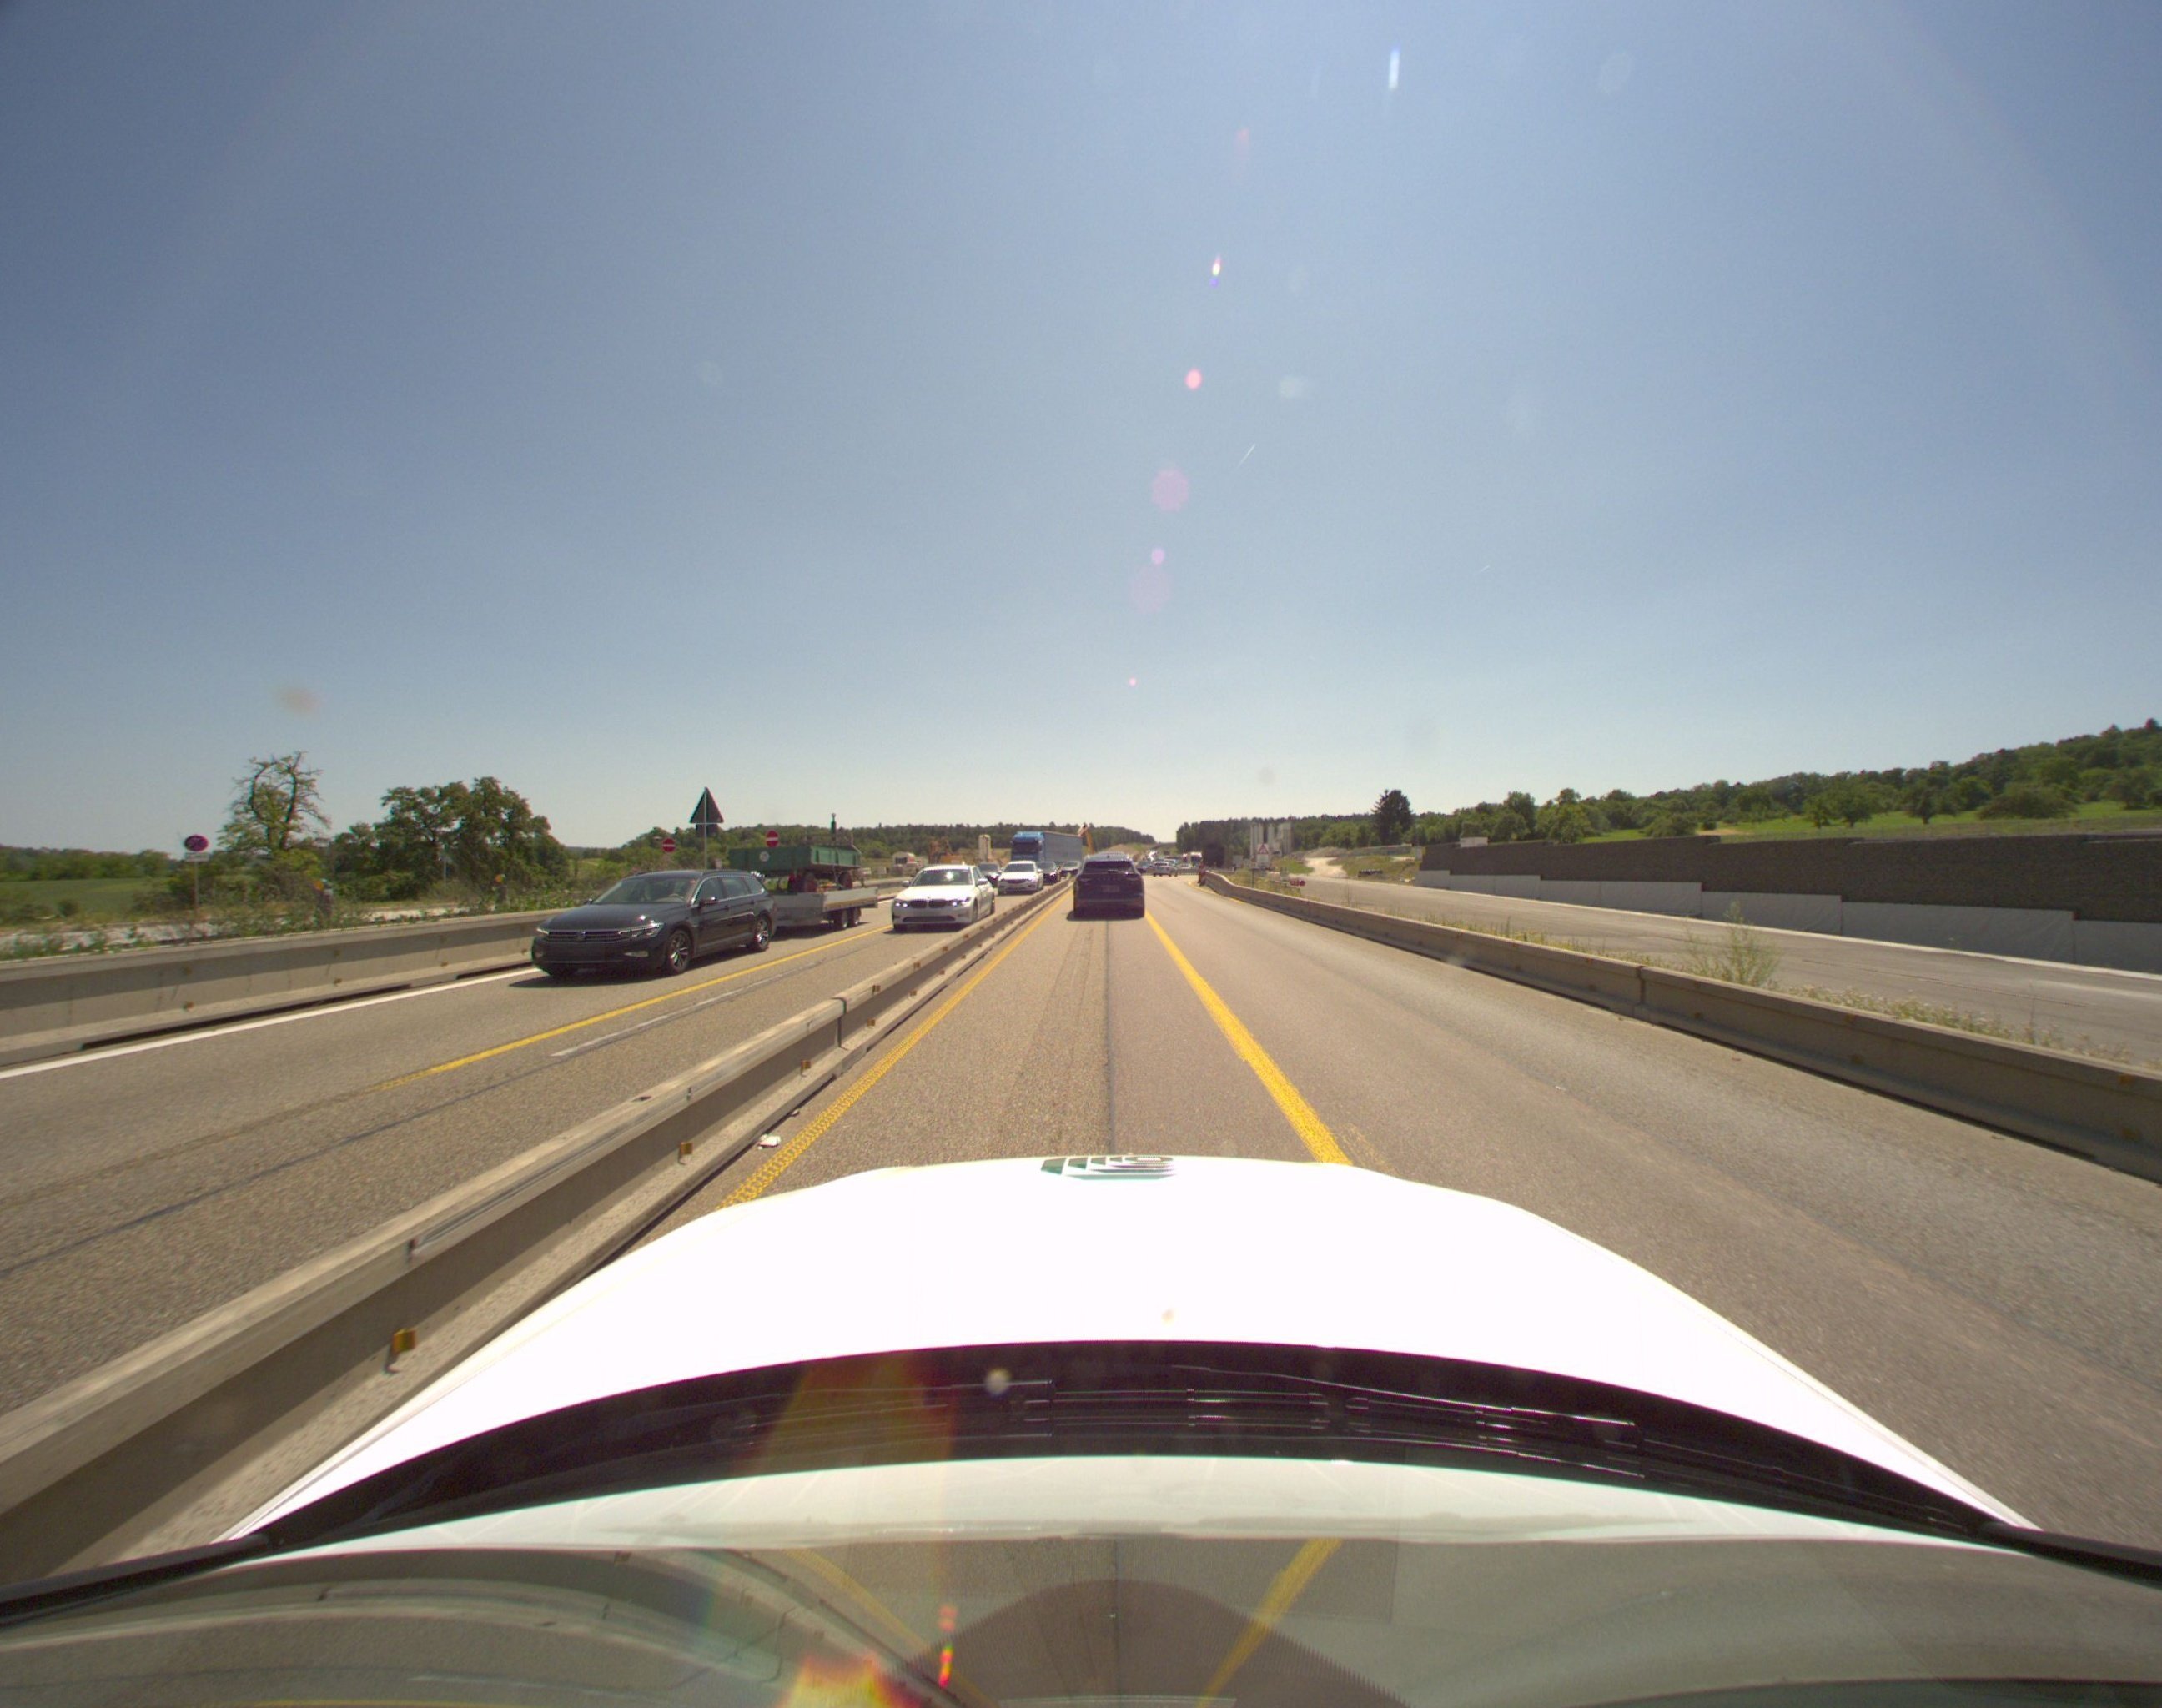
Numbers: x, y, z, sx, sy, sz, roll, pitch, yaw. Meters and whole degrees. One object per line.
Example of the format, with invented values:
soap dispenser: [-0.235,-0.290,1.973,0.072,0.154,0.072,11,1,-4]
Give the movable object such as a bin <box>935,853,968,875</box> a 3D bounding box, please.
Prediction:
movable object such as a bin: [-16.974,1.270,106.892,2.893,2.727,3.324,2,0,-38]

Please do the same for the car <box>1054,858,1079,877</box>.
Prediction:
car: [-1.169,1.102,67.245,1.581,1.441,4.131,-2,0,6]

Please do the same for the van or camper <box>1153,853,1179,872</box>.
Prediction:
van or camper: [12.376,1.257,118.426,2.081,2.541,6.337,-1,-1,21]

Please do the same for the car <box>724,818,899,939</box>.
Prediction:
car: [-6.270,0.490,19.968,1.907,2.399,6.454,-2,0,1]

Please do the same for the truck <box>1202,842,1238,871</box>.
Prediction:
truck: [14.837,0.320,86.753,2.650,2.946,5.649,-1,-2,22]

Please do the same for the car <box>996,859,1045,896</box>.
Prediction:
car: [-2.673,1.026,36.974,1.727,1.478,4.522,-2,0,2]

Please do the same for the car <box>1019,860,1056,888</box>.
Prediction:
car: [-2.434,1.119,46.563,1.768,1.427,4.770,-2,0,1]

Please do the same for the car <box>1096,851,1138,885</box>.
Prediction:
car: [2.119,0.771,47.339,1.982,1.844,4.010,1,0,9]

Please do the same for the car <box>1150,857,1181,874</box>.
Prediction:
car: [8.262,1.133,79.326,2.029,1.526,5.089,-1,0,17]

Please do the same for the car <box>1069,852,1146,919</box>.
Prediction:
car: [0.726,0.753,21.854,1.835,1.582,4.002,-2,0,2]

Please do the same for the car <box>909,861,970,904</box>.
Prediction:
car: [-5.937,1.152,34.647,1.760,1.597,4.001,-1,1,1]

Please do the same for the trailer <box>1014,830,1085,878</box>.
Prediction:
trailer: [-2.726,0.080,77.116,2.893,4.129,13.968,-1,-1,14]

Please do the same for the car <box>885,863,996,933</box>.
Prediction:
car: [-3.205,0.958,19.431,1.810,1.376,4.248,-1,0,1]

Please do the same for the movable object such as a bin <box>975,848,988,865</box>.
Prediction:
movable object such as a bin: [-19.925,0.427,162.837,2.420,3.126,5.466,4,0,-8]

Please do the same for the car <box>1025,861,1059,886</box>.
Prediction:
car: [-2.596,1.292,55.341,2.009,1.444,4.589,-1,1,1]

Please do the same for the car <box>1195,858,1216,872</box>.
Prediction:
car: [15.636,1.364,102.121,1.805,1.644,3.885,1,-1,21]

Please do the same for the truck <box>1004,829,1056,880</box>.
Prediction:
truck: [-4.302,0.074,70.502,2.894,4.129,6.159,-1,-1,12]

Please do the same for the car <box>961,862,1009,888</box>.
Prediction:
car: [-5.590,1.217,47.955,1.985,1.399,4.585,0,0,4]

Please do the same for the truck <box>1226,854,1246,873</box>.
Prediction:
truck: [36.748,2.200,193.663,3.459,4.220,10.391,5,0,5]

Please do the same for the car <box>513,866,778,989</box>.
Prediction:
car: [-6.431,0.980,12.680,1.681,1.452,4.337,-1,0,1]

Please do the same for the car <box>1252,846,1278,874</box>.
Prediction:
car: [29.223,1.003,129.121,3.412,4.101,9.232,3,0,15]

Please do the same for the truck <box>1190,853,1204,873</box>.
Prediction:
truck: [25.343,1.987,178.200,2.757,4.260,6.210,0,-1,6]
